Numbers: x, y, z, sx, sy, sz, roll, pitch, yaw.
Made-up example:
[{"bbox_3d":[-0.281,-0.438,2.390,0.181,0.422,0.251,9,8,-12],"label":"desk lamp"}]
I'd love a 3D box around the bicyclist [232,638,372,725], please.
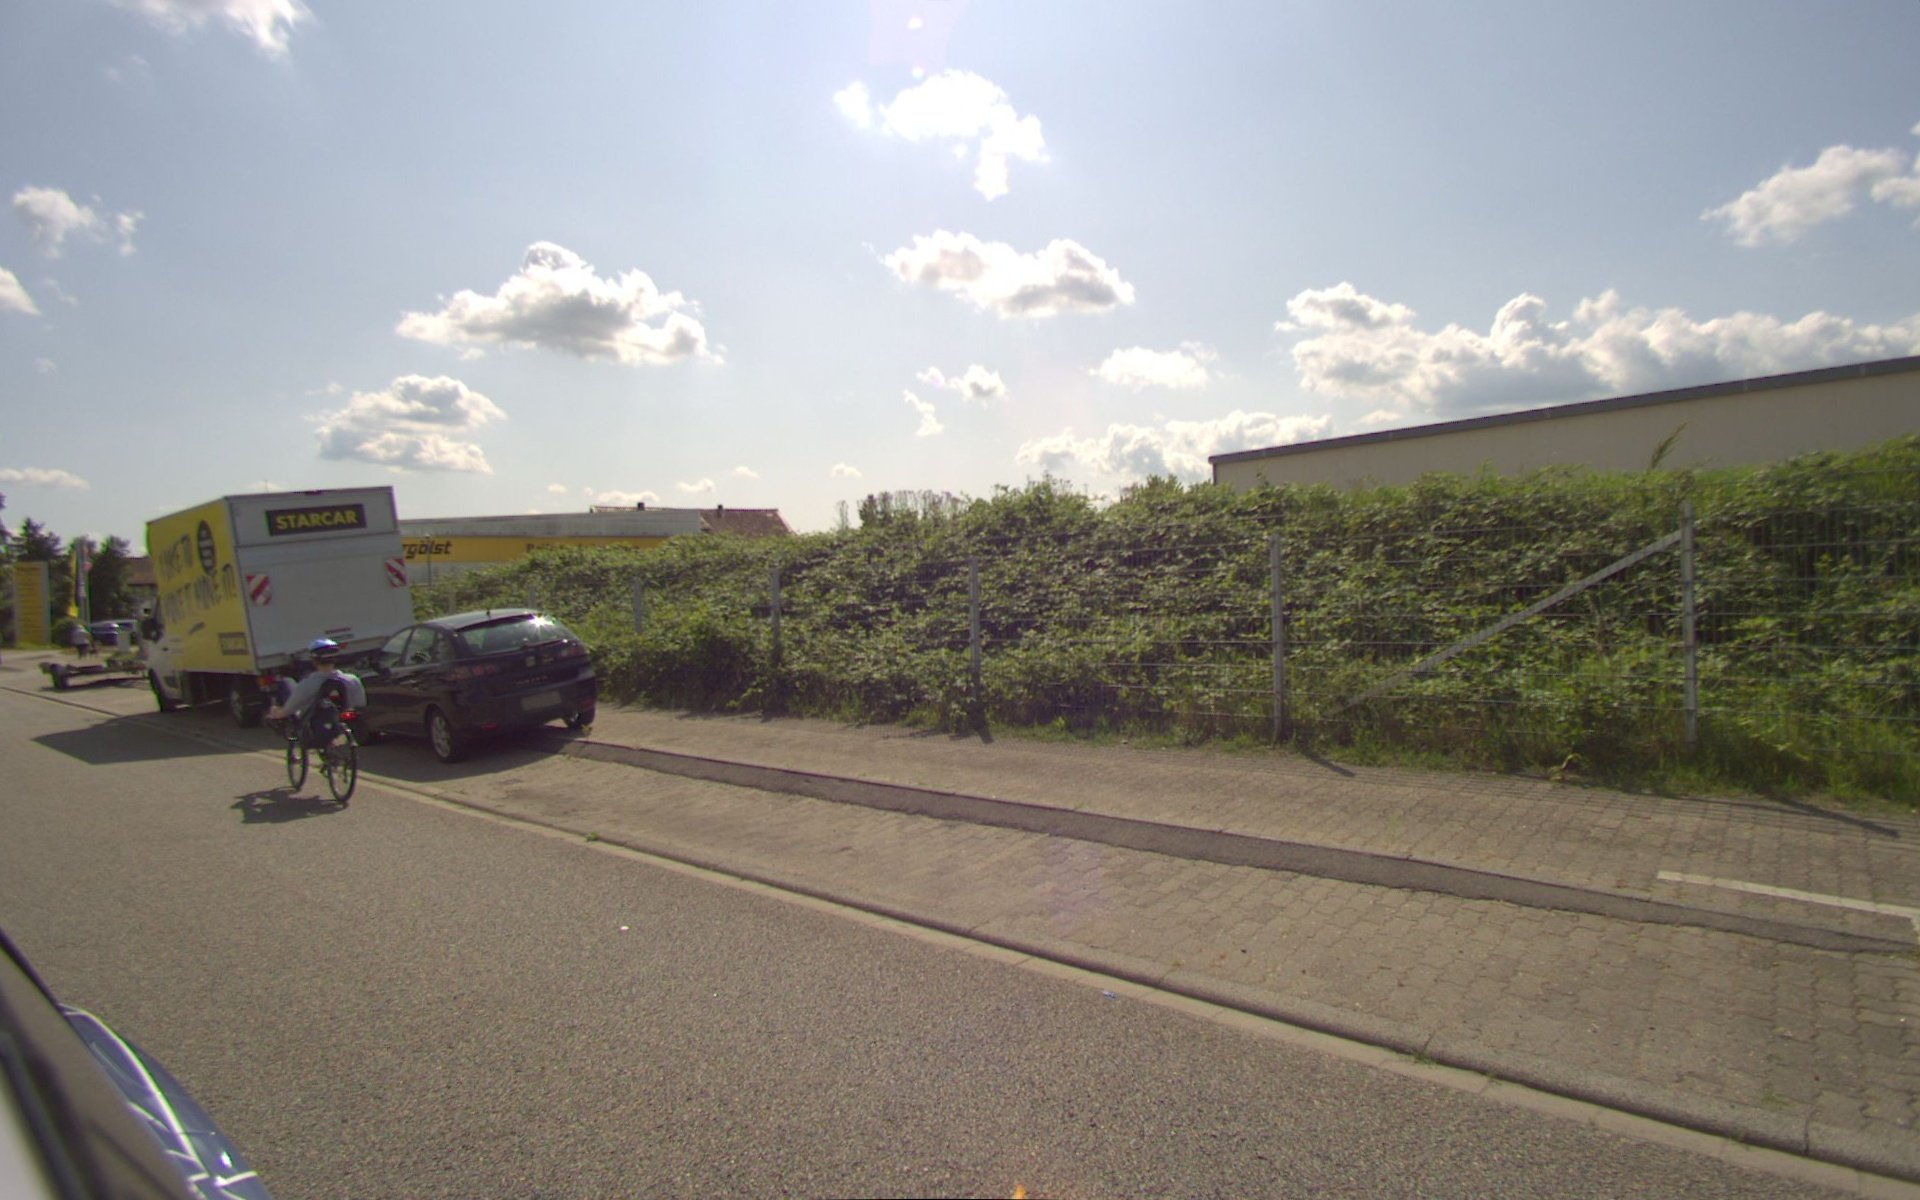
[{"bbox_3d":[-5.704,0.675,8.729,1.857,0.636,0.559,-3,1,43],"label":"bicyclist"}]

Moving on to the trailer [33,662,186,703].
[{"bbox_3d":[-21.975,2.075,26.102,4.440,0.556,2.215,-2,6,40],"label":"trailer"}]

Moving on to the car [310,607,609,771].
[{"bbox_3d":[-5.785,0.909,11.518,3.824,1.440,1.603,-2,3,41],"label":"car"}]

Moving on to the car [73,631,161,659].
[{"bbox_3d":[-52.843,2.816,63.520,1.844,1.424,3.823,-2,2,18],"label":"car"}]

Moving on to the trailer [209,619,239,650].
[{"bbox_3d":[-44.699,2.063,61.500,1.249,1.704,2.977,-4,2,-33],"label":"trailer"}]

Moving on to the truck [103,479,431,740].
[{"bbox_3d":[-11.358,0.157,16.286,6.900,3.385,2.229,-3,5,40],"label":"truck"}]

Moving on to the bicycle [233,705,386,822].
[{"bbox_3d":[-5.670,1.362,8.757,2.125,0.747,0.581,-2,0,43],"label":"bicycle"}]

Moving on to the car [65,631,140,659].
[{"bbox_3d":[-61.511,3.228,72.649,4.035,1.726,1.681,-3,0,-41],"label":"car"}]

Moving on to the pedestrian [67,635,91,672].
[{"bbox_3d":[-38.461,2.348,44.183,0.917,1.557,0.653,-3,0,42],"label":"pedestrian"}]
